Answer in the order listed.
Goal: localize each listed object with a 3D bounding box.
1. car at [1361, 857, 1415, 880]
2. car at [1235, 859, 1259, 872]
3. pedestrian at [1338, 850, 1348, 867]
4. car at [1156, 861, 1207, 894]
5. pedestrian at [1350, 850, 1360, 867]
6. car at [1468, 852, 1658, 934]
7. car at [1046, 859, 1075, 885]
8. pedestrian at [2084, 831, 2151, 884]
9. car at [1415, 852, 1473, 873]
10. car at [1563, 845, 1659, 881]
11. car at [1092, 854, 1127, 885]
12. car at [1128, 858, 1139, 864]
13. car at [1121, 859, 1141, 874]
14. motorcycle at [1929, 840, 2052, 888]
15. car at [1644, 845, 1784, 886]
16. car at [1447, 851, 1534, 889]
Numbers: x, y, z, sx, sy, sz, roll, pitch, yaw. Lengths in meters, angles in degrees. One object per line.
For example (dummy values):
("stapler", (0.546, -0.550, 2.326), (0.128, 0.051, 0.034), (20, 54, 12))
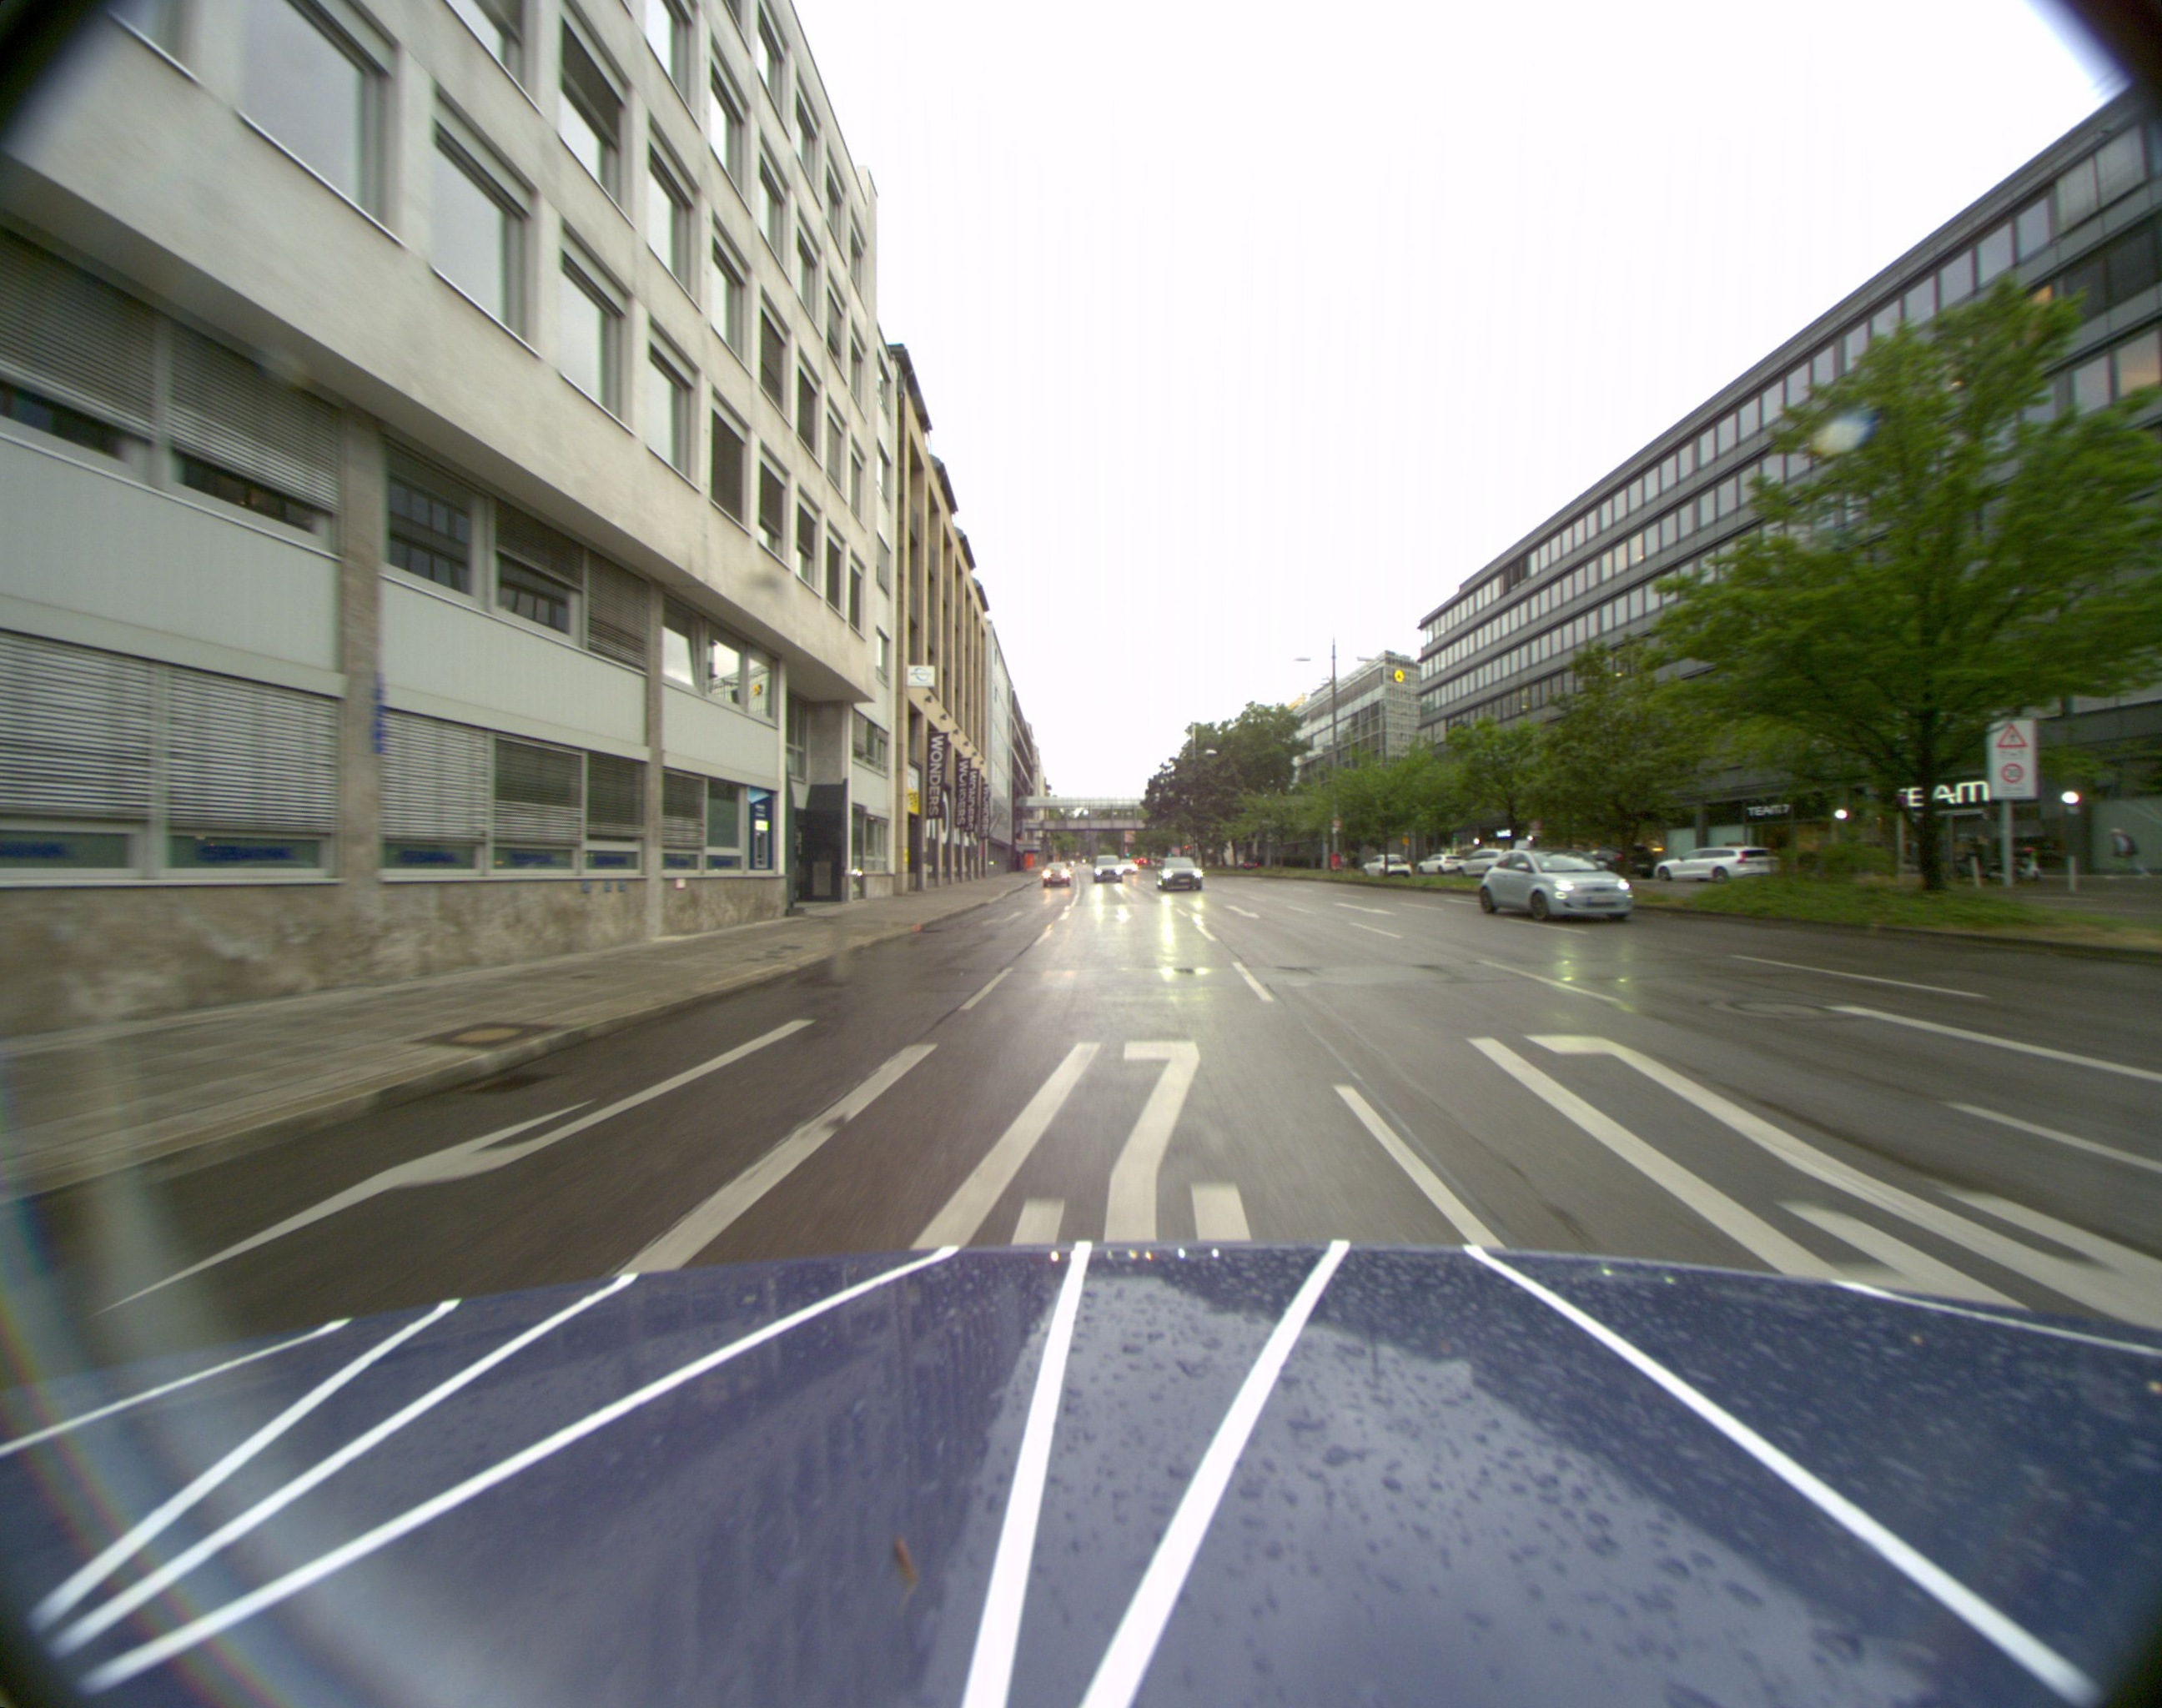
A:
("car", (19.751, 0.905, 49.070), (1.687, 1.423, 4.082), (-1, 0, -2))
("car", (20.418, 1.401, 93.544), (1.813, 1.467, 4.300), (-1, 0, -2))
("pedestrian", (29.076, 0.514, 84.306), (0.729, 1.788, 0.925), (-2, 1, 0))
("car", (4.774, 1.098, 36.728), (1.941, 1.426, 4.288), (-1, 0, 1))
("pedestrian", (30.550, 0.477, 84.685), (0.729, 1.822, 0.925), (-2, 1, 0))
("car", (10.296, 0.761, 16.590), (1.788, 1.564, 3.691), (-1, 0, -1))
("car", (-1.246, 1.068, 46.554), (1.666, 1.464, 3.483), (-1, 0, -2))
("pedestrian", (32.676, 0.096, 23.964), (0.785, 1.628, 0.966), (-1, 0, 0))
("car", (25.971, 0.600, 54.521), (1.814, 1.436, 4.309), (-2, 0, -3))
("car", (26.352, 0.424, 37.980), (1.813, 1.651, 4.310), (-2, 0, 1))
("car", (1.945, 1.052, 53.012), (2.163, 2.014, 5.041), (-1, 0, 0))
("car", (11.808, 1.619, 170.989), (1.732, 1.303, 4.076), (-1, 0, -4))
("car", (4.996, 1.235, 76.899), (1.853, 1.434, 3.871), (-1, 0, 2))
("motorcycle", (28.807, 0.304, 24.121), (0.860, 1.386, 2.365), (-5, 2, -27))
("car", (26.315, 0.438, 31.834), (1.813, 1.476, 4.772), (-4, 0, 0))
("car", (20.374, 0.753, 38.032), (1.742, 1.718, 4.492), (-2, 0, -3))
